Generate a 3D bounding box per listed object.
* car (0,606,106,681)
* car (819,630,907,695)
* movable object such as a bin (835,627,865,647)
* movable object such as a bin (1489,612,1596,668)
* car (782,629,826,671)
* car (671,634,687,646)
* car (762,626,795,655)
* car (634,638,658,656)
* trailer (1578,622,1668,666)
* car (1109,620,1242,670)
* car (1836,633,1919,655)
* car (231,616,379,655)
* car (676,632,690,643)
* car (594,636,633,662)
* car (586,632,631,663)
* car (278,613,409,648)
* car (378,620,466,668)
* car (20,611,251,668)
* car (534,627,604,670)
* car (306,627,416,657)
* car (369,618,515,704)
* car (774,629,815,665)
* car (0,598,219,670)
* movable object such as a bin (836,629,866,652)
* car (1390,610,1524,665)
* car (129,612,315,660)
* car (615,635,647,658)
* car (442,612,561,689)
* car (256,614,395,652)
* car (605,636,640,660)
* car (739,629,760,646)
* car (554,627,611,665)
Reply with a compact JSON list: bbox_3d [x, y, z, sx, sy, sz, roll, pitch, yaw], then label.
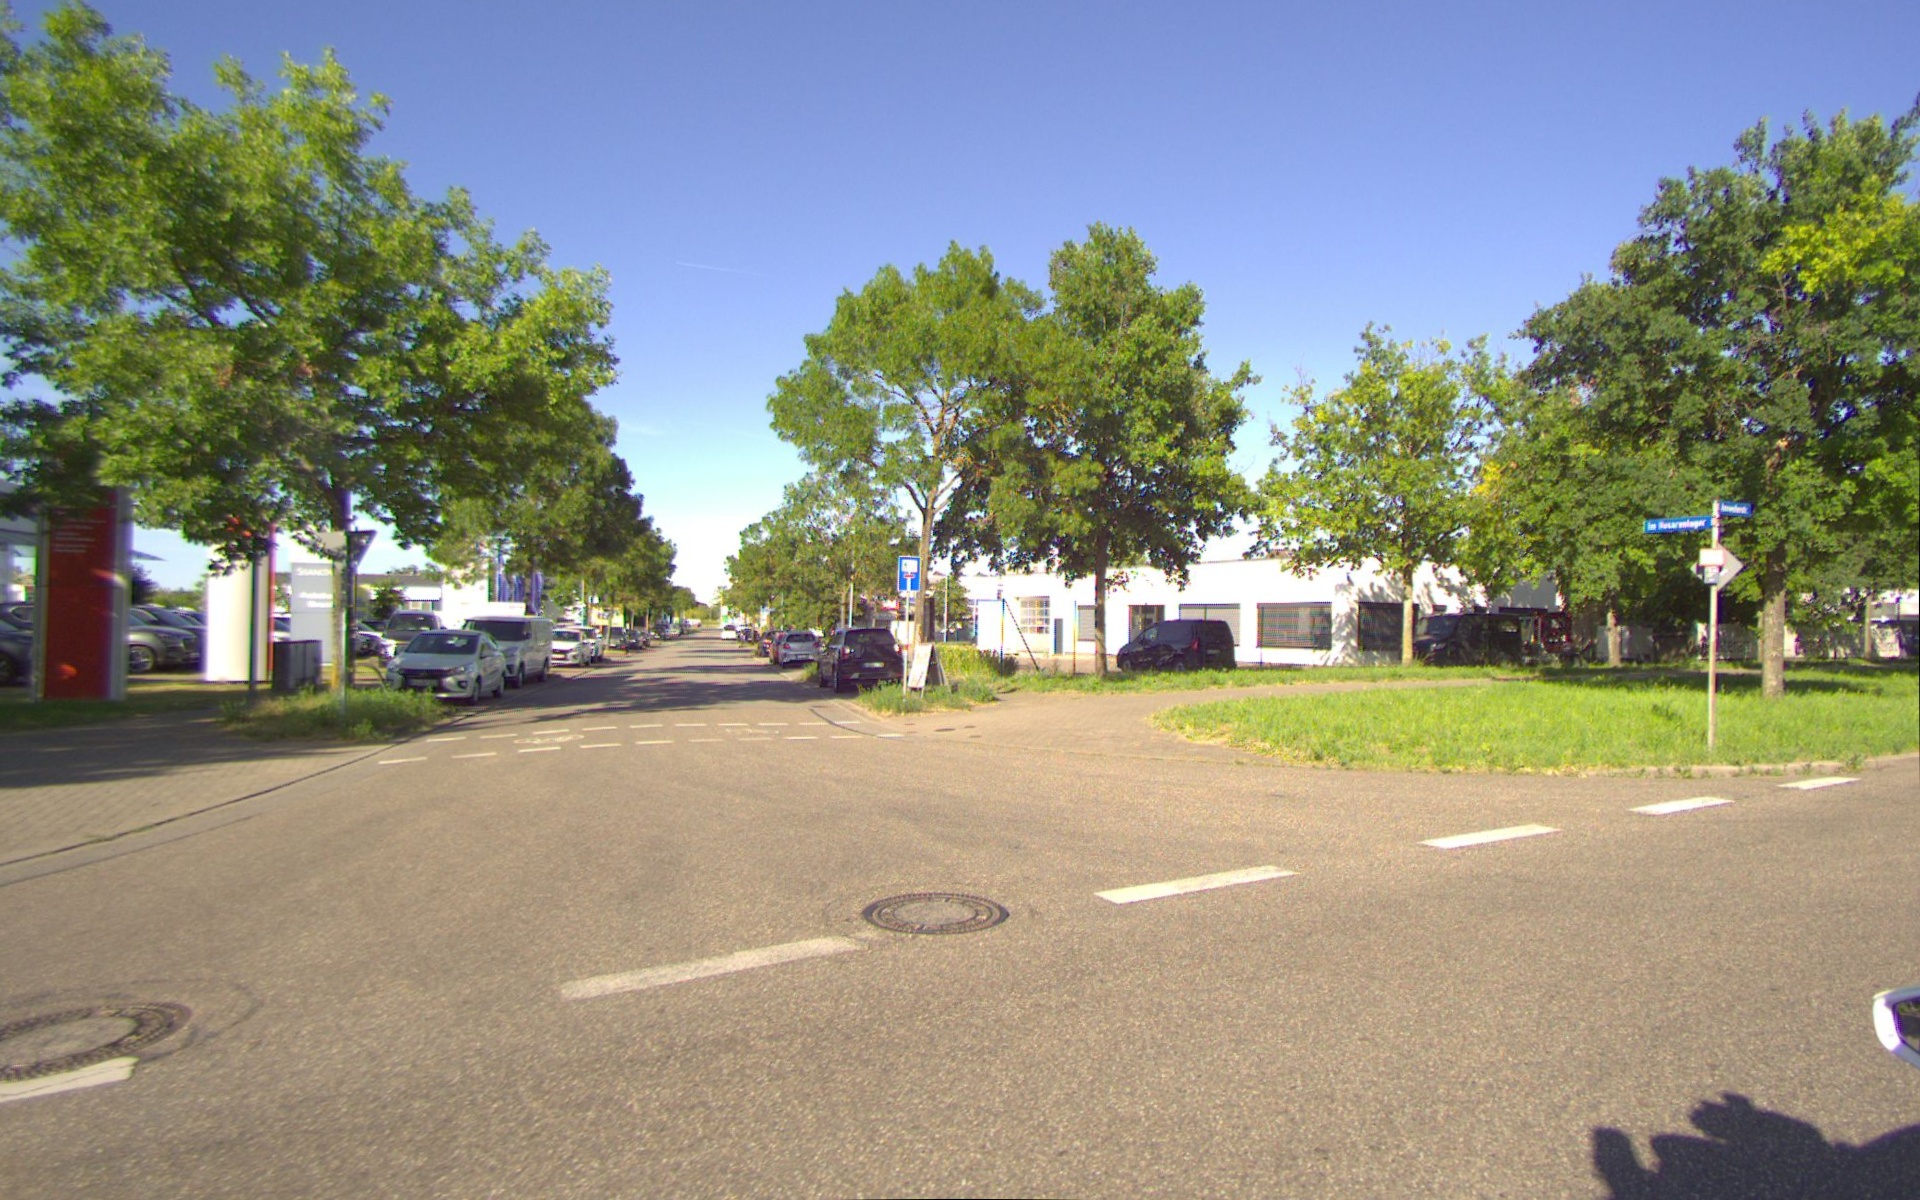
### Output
[{"bbox_3d":[-21.796,0.934,22.069,4.104,1.591,1.992,1,-1,-18],"label":"car"},{"bbox_3d":[-2.634,1.587,26.501,1.791,1.553,3.671,1,-1,-14],"label":"car"},{"bbox_3d":[-6.519,2.211,59.471,1.617,1.159,1.490,1,-1,-11],"label":"movable object such as a bin"},{"bbox_3d":[24.796,1.678,42.755,4.408,2.246,2.092,1,-1,-30],"label":"movable object such as a bin"},{"bbox_3d":[-6.550,2.071,42.233,1.768,1.597,3.994,0,0,-9],"label":"car"},{"bbox_3d":[-38.266,5.475,136.808,1.769,1.531,3.992,0,0,-11],"label":"car"},{"bbox_3d":[-10.334,2.266,57.466,1.768,1.531,3.994,0,0,-9],"label":"car"},{"bbox_3d":[-29.831,4.415,95.544,1.769,1.531,3.992,0,0,-11],"label":"car"},{"bbox_3d":[30.738,2.000,46.563,3.697,1.940,2.092,1,-1,-30],"label":"trailer"},{"bbox_3d":[6.790,1.399,32.126,1.914,1.499,4.490,1,-2,-23],"label":"car"},{"bbox_3d":[58.981,2.761,64.178,1.920,1.305,4.174,1,-1,-33],"label":"car"},{"bbox_3d":[-27.345,1.490,42.131,4.795,1.583,1.992,1,-1,-18],"label":"car"},{"bbox_3d":[-40.239,5.427,145.961,1.769,1.531,3.992,0,0,-11],"label":"car"},{"bbox_3d":[-22.147,3.100,64.293,1.769,1.531,3.992,0,0,-11],"label":"car"},{"bbox_3d":[-19.130,2.583,54.842,1.769,1.531,3.992,0,0,-11],"label":"car"},{"bbox_3d":[-28.664,1.435,46.879,4.795,1.583,1.992,1,-1,-18],"label":"car"},{"bbox_3d":[-19.041,1.509,35.776,1.969,1.583,4.851,1,-2,-19],"label":"car"},{"bbox_3d":[-24.083,1.158,29.571,4.795,1.583,1.992,1,-1,-18],"label":"car"},{"bbox_3d":[-15.653,1.909,40.404,1.768,1.531,3.994,0,0,-9],"label":"car"},{"bbox_3d":[-32.758,2.292,55.075,4.795,1.583,1.992,1,-1,-18],"label":"car"},{"bbox_3d":[-10.757,1.211,21.140,1.931,1.639,3.743,1,-1,-15],"label":"car"},{"bbox_3d":[-7.640,2.147,46.508,1.768,1.531,3.994,0,0,-9],"label":"car"},{"bbox_3d":[-23.244,0.914,27.103,4.793,1.836,1.993,1,-1,-17],"label":"car"},{"bbox_3d":[-6.286,2.308,57.780,1.617,1.288,1.676,1,-1,-10],"label":"movable object such as a bin"},{"bbox_3d":[19.601,1.464,39.542,5.741,2.015,2.025,2,-2,-32],"label":"car"},{"bbox_3d":[-25.598,1.264,35.045,4.795,1.583,1.992,1,-1,-18],"label":"car"},{"bbox_3d":[-24.442,3.447,74.757,1.769,1.531,3.992,0,0,-11],"label":"car"},{"bbox_3d":[-12.583,1.345,27.908,1.907,1.931,5.016,1,-1,-12],"label":"car"},{"bbox_3d":[-28.027,1.466,44.548,4.795,1.583,1.992,1,-1,-18],"label":"car"},{"bbox_3d":[-23.662,3.366,70.477,1.769,1.531,3.992,0,0,-11],"label":"car"},{"bbox_3d":[-19.932,3.507,95.251,1.768,1.531,3.994,1,-1,-9],"label":"car"},{"bbox_3d":[-17.001,2.040,45.375,1.769,1.531,3.992,0,0,-11],"label":"car"}]
